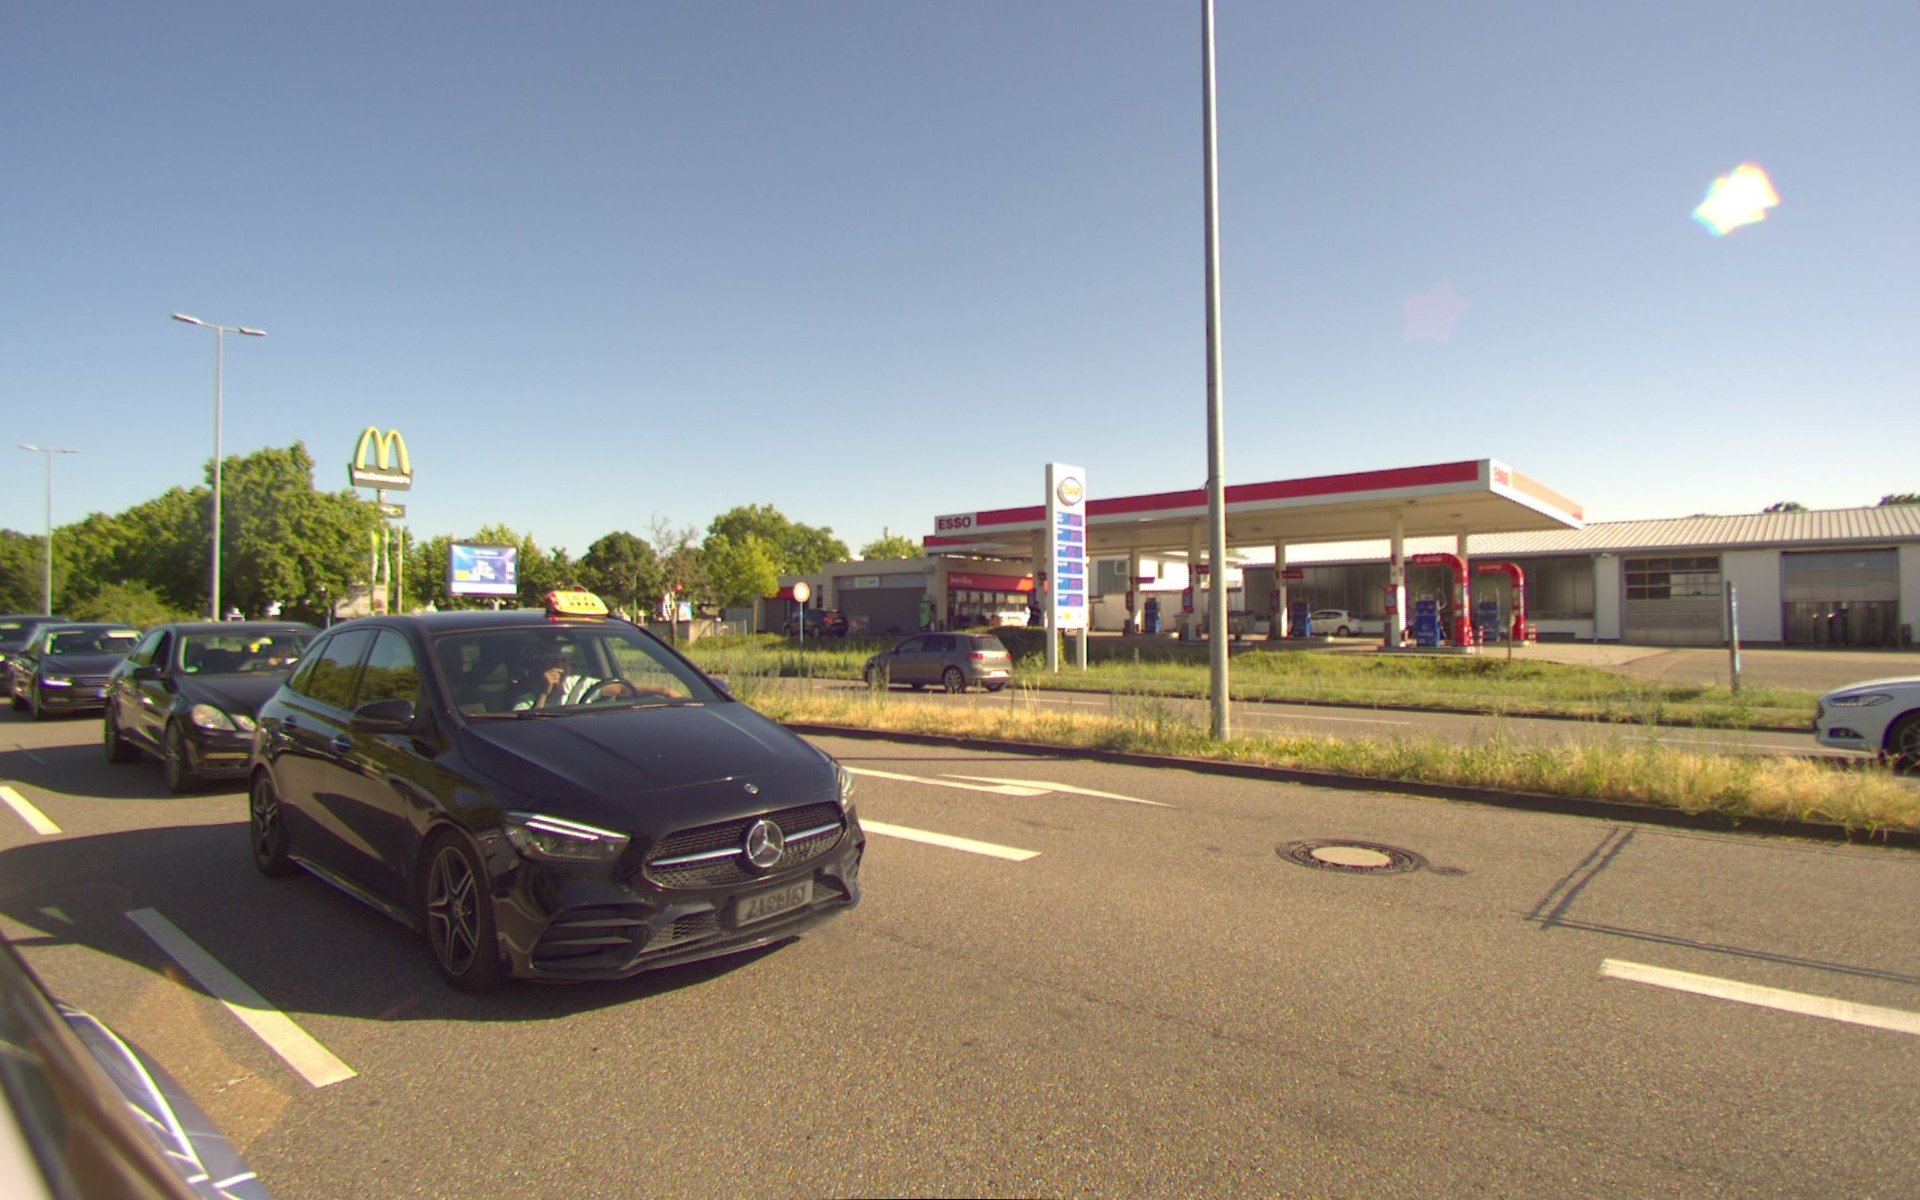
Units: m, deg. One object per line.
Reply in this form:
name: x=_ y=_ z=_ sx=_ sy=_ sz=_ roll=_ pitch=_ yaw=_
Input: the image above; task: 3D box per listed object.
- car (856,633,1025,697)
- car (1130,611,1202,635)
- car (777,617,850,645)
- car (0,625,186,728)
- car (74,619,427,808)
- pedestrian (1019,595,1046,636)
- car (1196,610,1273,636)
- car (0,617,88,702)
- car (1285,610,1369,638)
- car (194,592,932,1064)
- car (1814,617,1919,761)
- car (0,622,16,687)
car: x=-0.526 y=1.555 z=24.932 sx=3.975 sy=1.420 sz=1.741 roll=-1 pitch=-4 yaw=40
car: x=12.456 y=1.397 z=61.371 sx=3.975 sy=1.420 sz=1.661 roll=-1 pitch=-4 yaw=40
car: x=-7.955 y=1.660 z=54.771 sx=3.975 sy=1.420 sz=1.661 roll=-1 pitch=-4 yaw=40
car: x=-14.434 y=1.160 z=16.684 sx=4.284 sy=1.438 sz=1.775 roll=-1 pitch=0 yaw=40
car: x=-7.244 y=0.936 z=10.152 sx=4.400 sy=1.449 sz=1.845 roll=-1 pitch=0 yaw=40
pedestrian: x=3.214 y=0.684 z=44.927 sx=0.903 sy=1.763 sz=0.780 roll=-1 pitch=0 yaw=41
car: x=15.854 y=1.353 z=58.571 sx=3.975 sy=1.420 sz=1.661 roll=-1 pitch=-4 yaw=40
car: x=-19.994 y=1.212 z=21.496 sx=3.876 sy=1.629 sz=1.653 roll=-2 pitch=-1 yaw=40
car: x=19.856 y=1.301 z=54.829 sx=3.975 sy=1.420 sz=1.661 roll=-1 pitch=-4 yaw=40
car: x=-2.366 y=0.743 z=5.325 sx=4.400 sy=1.502 sz=1.741 roll=-1 pitch=0 yaw=40
car: x=11.928 y=0.976 z=10.269 sx=4.872 sy=1.502 sz=1.742 roll=-1 pitch=-4 yaw=38
car: x=-25.206 y=1.376 z=25.531 sx=3.774 sy=1.567 sz=1.615 roll=-1 pitch=-1 yaw=40
